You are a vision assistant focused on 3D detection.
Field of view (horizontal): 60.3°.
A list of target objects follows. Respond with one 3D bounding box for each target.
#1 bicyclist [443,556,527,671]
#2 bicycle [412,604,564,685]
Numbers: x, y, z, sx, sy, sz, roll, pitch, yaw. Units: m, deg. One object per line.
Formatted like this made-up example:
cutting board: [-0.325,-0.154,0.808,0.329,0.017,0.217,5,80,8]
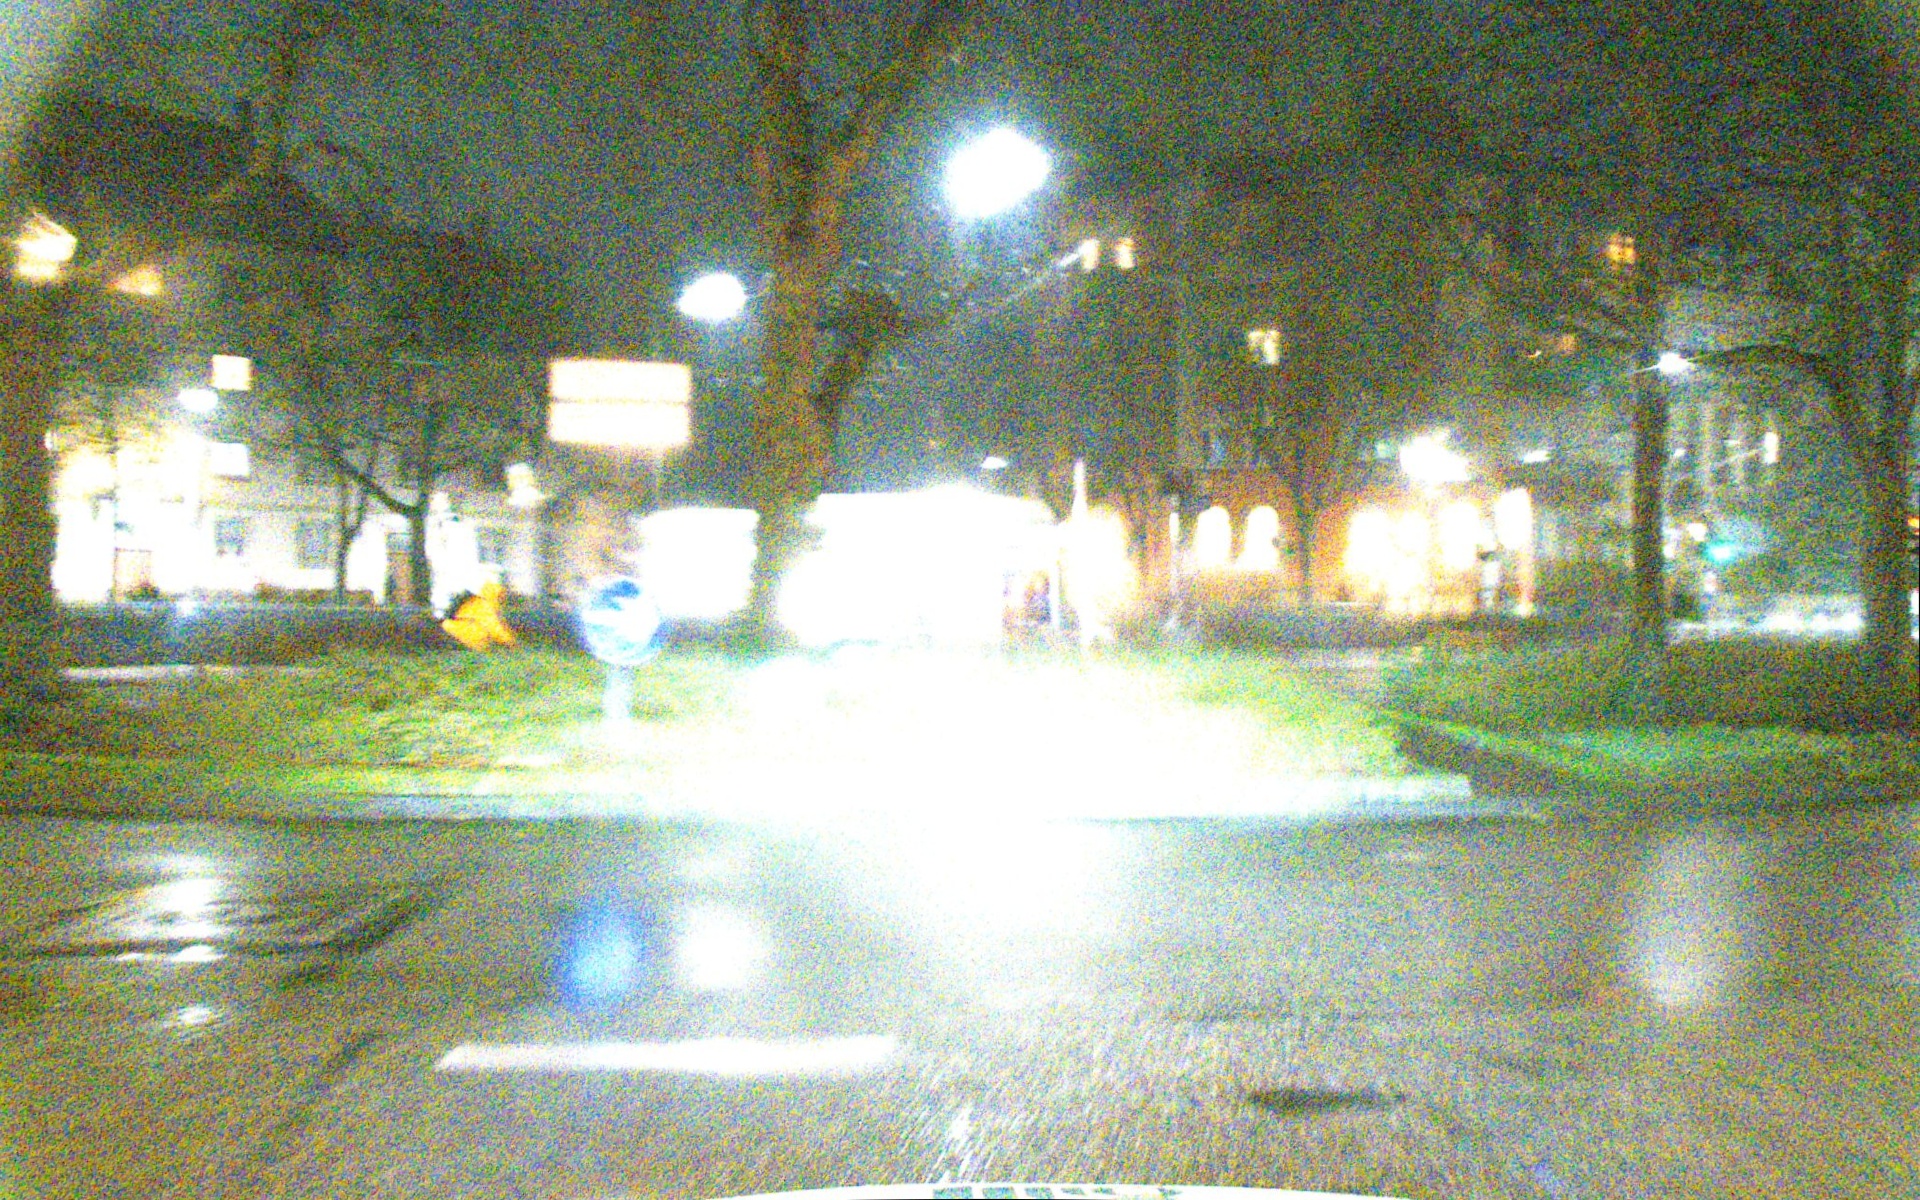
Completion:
bicyclist: [-6.016,0.170,20.944,0.881,1.404,0.500,3,0,-28]
bicycle: [-5.969,0.570,20.962,1.758,0.948,0.495,3,0,-28]
